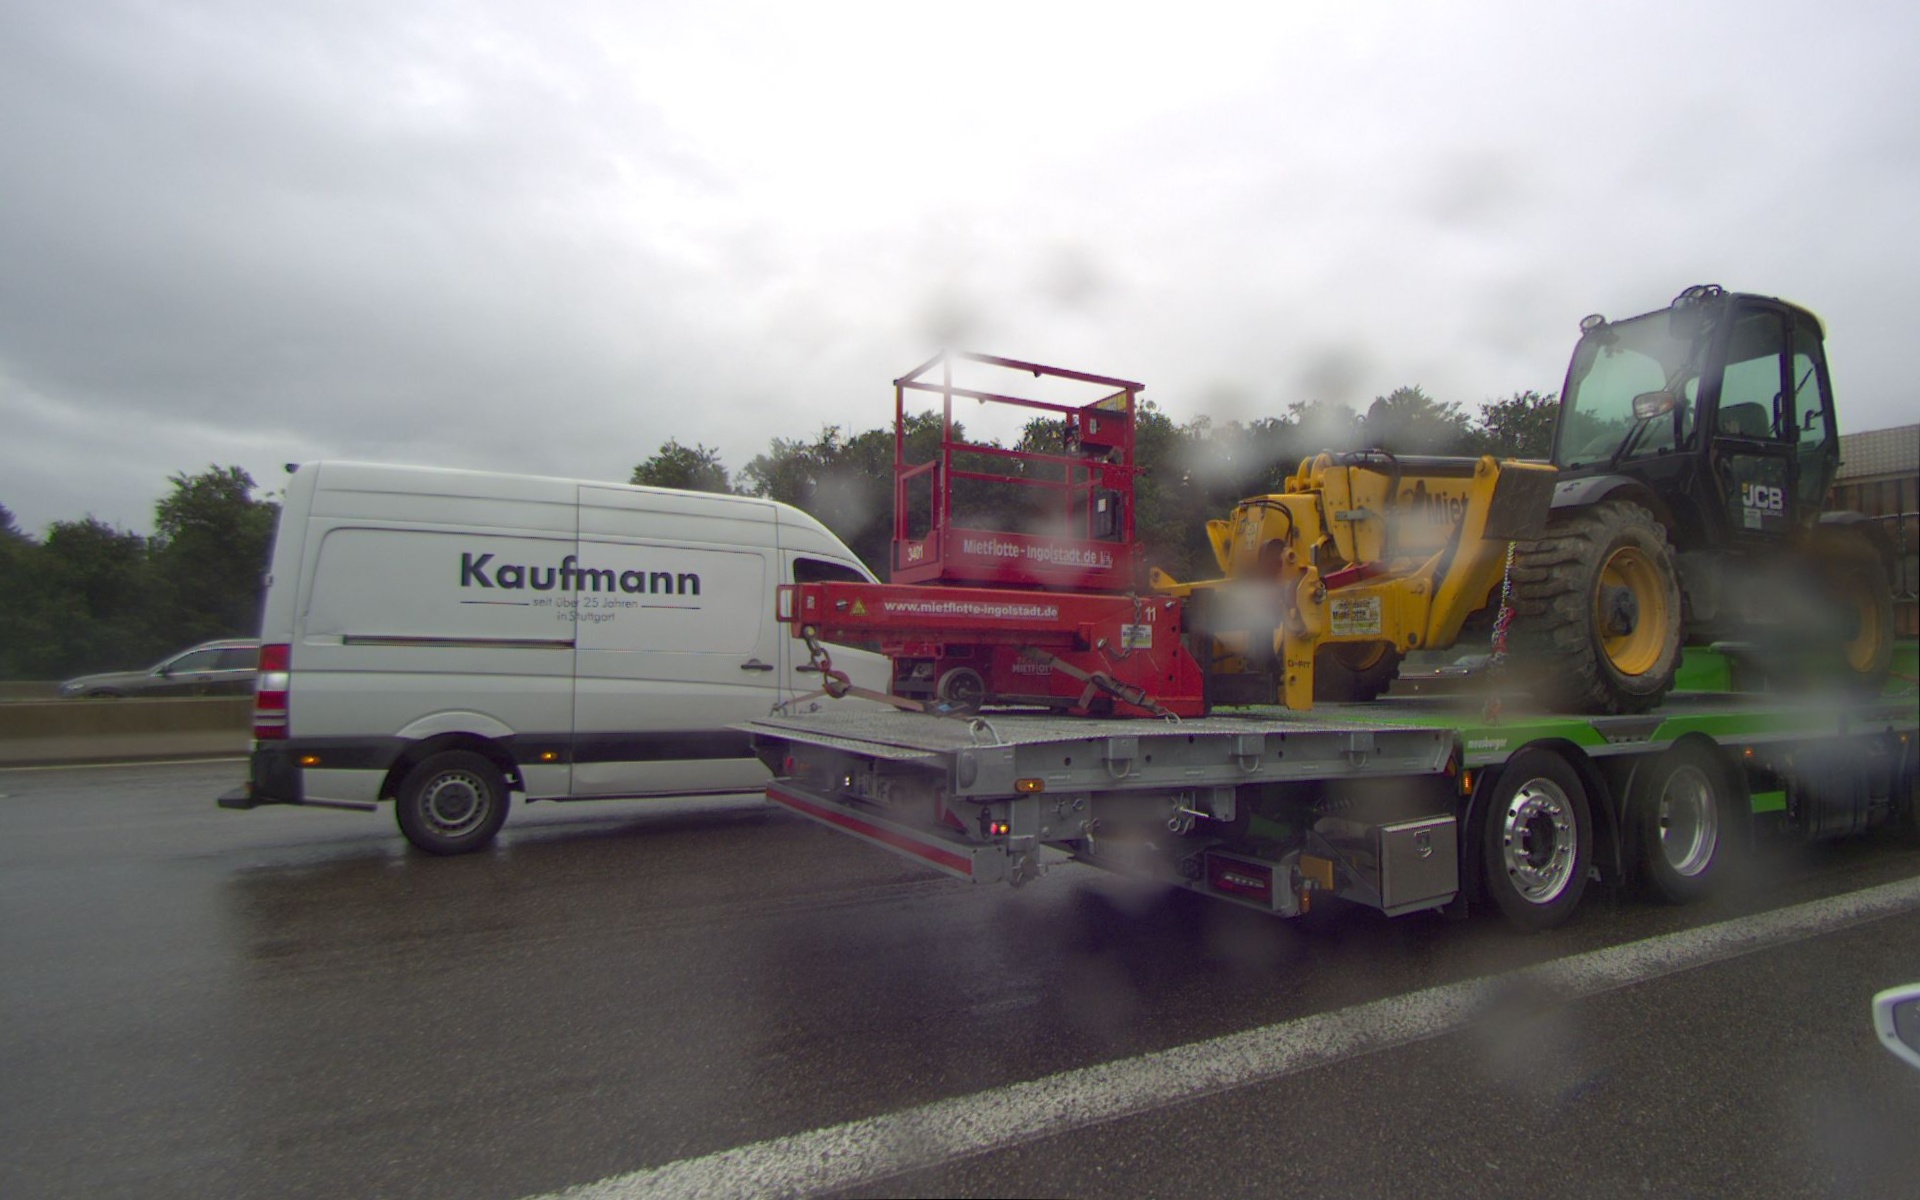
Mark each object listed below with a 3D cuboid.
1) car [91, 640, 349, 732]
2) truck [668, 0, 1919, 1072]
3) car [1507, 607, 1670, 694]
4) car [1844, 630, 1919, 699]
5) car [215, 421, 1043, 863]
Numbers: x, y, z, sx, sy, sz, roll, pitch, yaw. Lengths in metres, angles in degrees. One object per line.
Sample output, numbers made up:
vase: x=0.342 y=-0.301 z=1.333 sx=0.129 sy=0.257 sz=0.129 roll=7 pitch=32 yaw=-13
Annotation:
car: x=-15.057 y=1.720 z=20.737 sx=3.948 sy=1.700 sz=1.836 roll=2 pitch=-1 yaw=-27
truck: x=4.196 y=-0.189 z=7.027 sx=11.649 sy=3.635 sz=2.821 roll=2 pitch=-4 yaw=-28
car: x=16.534 y=1.327 z=26.406 sx=3.949 sy=2.040 sz=1.791 roll=3 pitch=0 yaw=-27
car: x=26.831 y=1.769 z=28.069 sx=4.105 sy=1.822 sz=1.985 roll=2 pitch=-3 yaw=-30
car: x=-2.344 y=0.384 z=8.357 sx=5.768 sy=2.664 sz=2.208 roll=2 pitch=-3 yaw=-27
